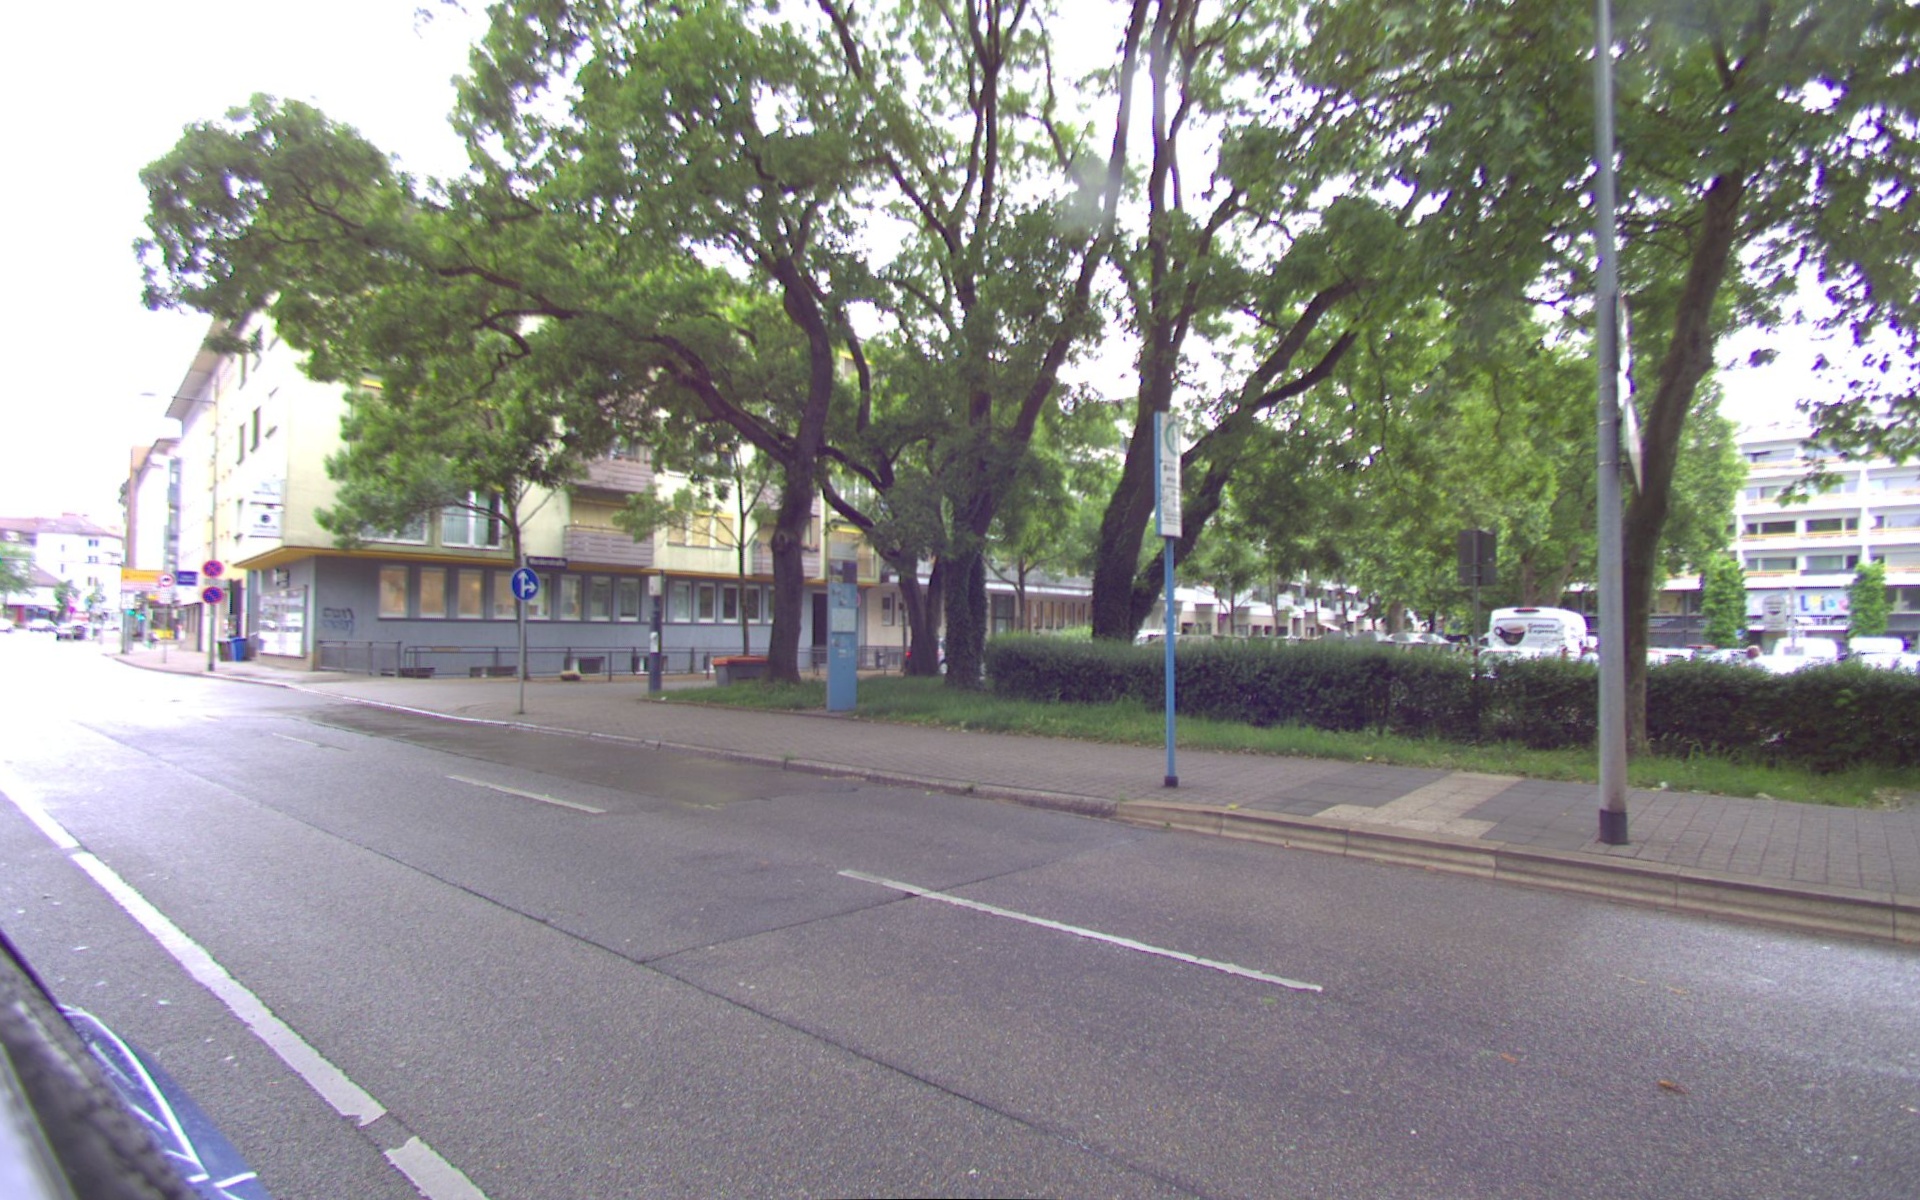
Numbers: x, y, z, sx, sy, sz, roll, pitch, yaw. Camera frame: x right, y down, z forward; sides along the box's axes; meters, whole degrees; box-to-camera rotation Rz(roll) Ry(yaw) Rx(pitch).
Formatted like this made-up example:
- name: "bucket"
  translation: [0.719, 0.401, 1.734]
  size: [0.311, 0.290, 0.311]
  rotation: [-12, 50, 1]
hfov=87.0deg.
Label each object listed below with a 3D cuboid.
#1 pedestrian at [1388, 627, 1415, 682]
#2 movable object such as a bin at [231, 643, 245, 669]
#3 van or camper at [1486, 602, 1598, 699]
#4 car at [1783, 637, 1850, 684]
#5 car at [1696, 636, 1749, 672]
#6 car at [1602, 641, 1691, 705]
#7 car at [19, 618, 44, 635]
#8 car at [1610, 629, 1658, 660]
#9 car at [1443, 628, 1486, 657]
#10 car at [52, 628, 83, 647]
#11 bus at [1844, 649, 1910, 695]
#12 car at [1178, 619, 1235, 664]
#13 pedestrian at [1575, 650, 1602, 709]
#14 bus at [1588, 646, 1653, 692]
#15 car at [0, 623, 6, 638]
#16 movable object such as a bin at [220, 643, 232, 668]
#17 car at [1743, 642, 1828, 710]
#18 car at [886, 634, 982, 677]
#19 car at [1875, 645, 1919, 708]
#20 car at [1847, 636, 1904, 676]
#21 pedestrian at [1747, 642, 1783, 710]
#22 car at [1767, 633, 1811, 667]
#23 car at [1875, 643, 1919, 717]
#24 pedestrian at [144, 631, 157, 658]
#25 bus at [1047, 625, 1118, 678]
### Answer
- name: "pedestrian"
  translation: [10.139, 1.235, 23.218]
  size: [0.484, 1.222, 0.433]
  rotation: [-1, 0, 34]
- name: "movable object such as a bin"
  translation: [-29.873, 2.320, 41.871]
  size: [0.409, 1.037, 0.354]
  rotation: [3, -4, -42]
- name: "van or camper"
  translation: [16.845, 1.443, 29.205]
  size: [2.097, 2.556, 4.367]
  rotation: [-1, -3, 40]
- name: "car"
  translation: [28.173, 1.965, 33.346]
  size: [1.604, 1.439, 3.275]
  rotation: [-1, -3, 40]
- name: "car"
  translation: [35.719, 2.488, 47.359]
  size: [1.837, 1.435, 3.780]
  rotation: [-1, 0, 39]
- name: "car"
  translation: [16.732, 1.746, 24.615]
  size: [1.391, 1.446, 3.227]
  rotation: [-2, -4, 41]
- name: "car"
  translation: [-111.925, 3.207, 121.934]
  size: [4.002, 1.866, 1.971]
  rotation: [-2, -4, 45]
- name: "car"
  translation: [32.463, 2.160, 48.725]
  size: [1.604, 1.439, 3.275]
  rotation: [-1, -3, 40]
- name: "car"
  translation: [27.245, 2.293, 54.654]
  size: [1.428, 1.439, 2.926]
  rotation: [-2, -1, 40]
- name: "car"
  translation: [-82.207, 3.464, 93.216]
  size: [4.002, 1.730, 1.863]
  rotation: [-2, -4, 45]
- name: "bus"
  translation: [33.156, 2.576, 36.652]
  size: [1.604, 1.551, 3.385]
  rotation: [-1, -3, 40]
- name: "car"
  translation: [11.752, 1.973, 48.102]
  size: [1.988, 2.029, 3.967]
  rotation: [0, -3, 24]
- name: "pedestrian"
  translation: [13.538, 1.695, 21.799]
  size: [0.465, 1.222, 0.433]
  rotation: [-1, 0, 34]
- name: "bus"
  translation: [24.155, 2.494, 36.968]
  size: [1.604, 1.551, 3.385]
  rotation: [-1, -3, 40]
- name: "car"
  translation: [-105.645, 3.305, 110.533]
  size: [4.002, 1.653, 1.971]
  rotation: [-2, -4, 45]
- name: "movable object such as a bin"
  translation: [-30.192, 2.277, 41.609]
  size: [0.333, 1.037, 0.354]
  rotation: [3, -4, -42]
- name: "car"
  translation: [19.237, 1.735, 23.559]
  size: [1.391, 1.446, 3.227]
  rotation: [-2, -4, 41]
- name: "car"
  translation: [-0.912, 2.088, 37.542]
  size: [1.572, 1.500, 3.517]
  rotation: [-1, -4, 42]
- name: "car"
  translation: [23.416, 1.858, 24.801]
  size: [1.391, 1.446, 3.227]
  rotation: [-2, -4, 41]
- name: "car"
  translation: [40.215, 2.429, 44.510]
  size: [1.639, 1.536, 3.161]
  rotation: [-1, 0, 38]
- name: "pedestrian"
  translation: [14.858, 1.391, 18.690]
  size: [0.465, 1.222, 0.433]
  rotation: [-1, 0, 34]
- name: "car"
  translation: [41.983, 2.505, 51.296]
  size: [1.639, 1.536, 3.161]
  rotation: [-1, 0, 38]
- name: "car"
  translation: [19.929, 1.635, 20.938]
  size: [1.391, 1.446, 3.227]
  rotation: [-2, -4, 41]
- name: "pedestrian"
  translation: [-55.908, 3.048, 69.901]
  size: [0.586, 1.858, 0.565]
  rotation: [3, -4, -42]
- name: "bus"
  translation: [4.733, 1.969, 38.729]
  size: [1.703, 1.939, 3.697]
  rotation: [0, -3, 24]
